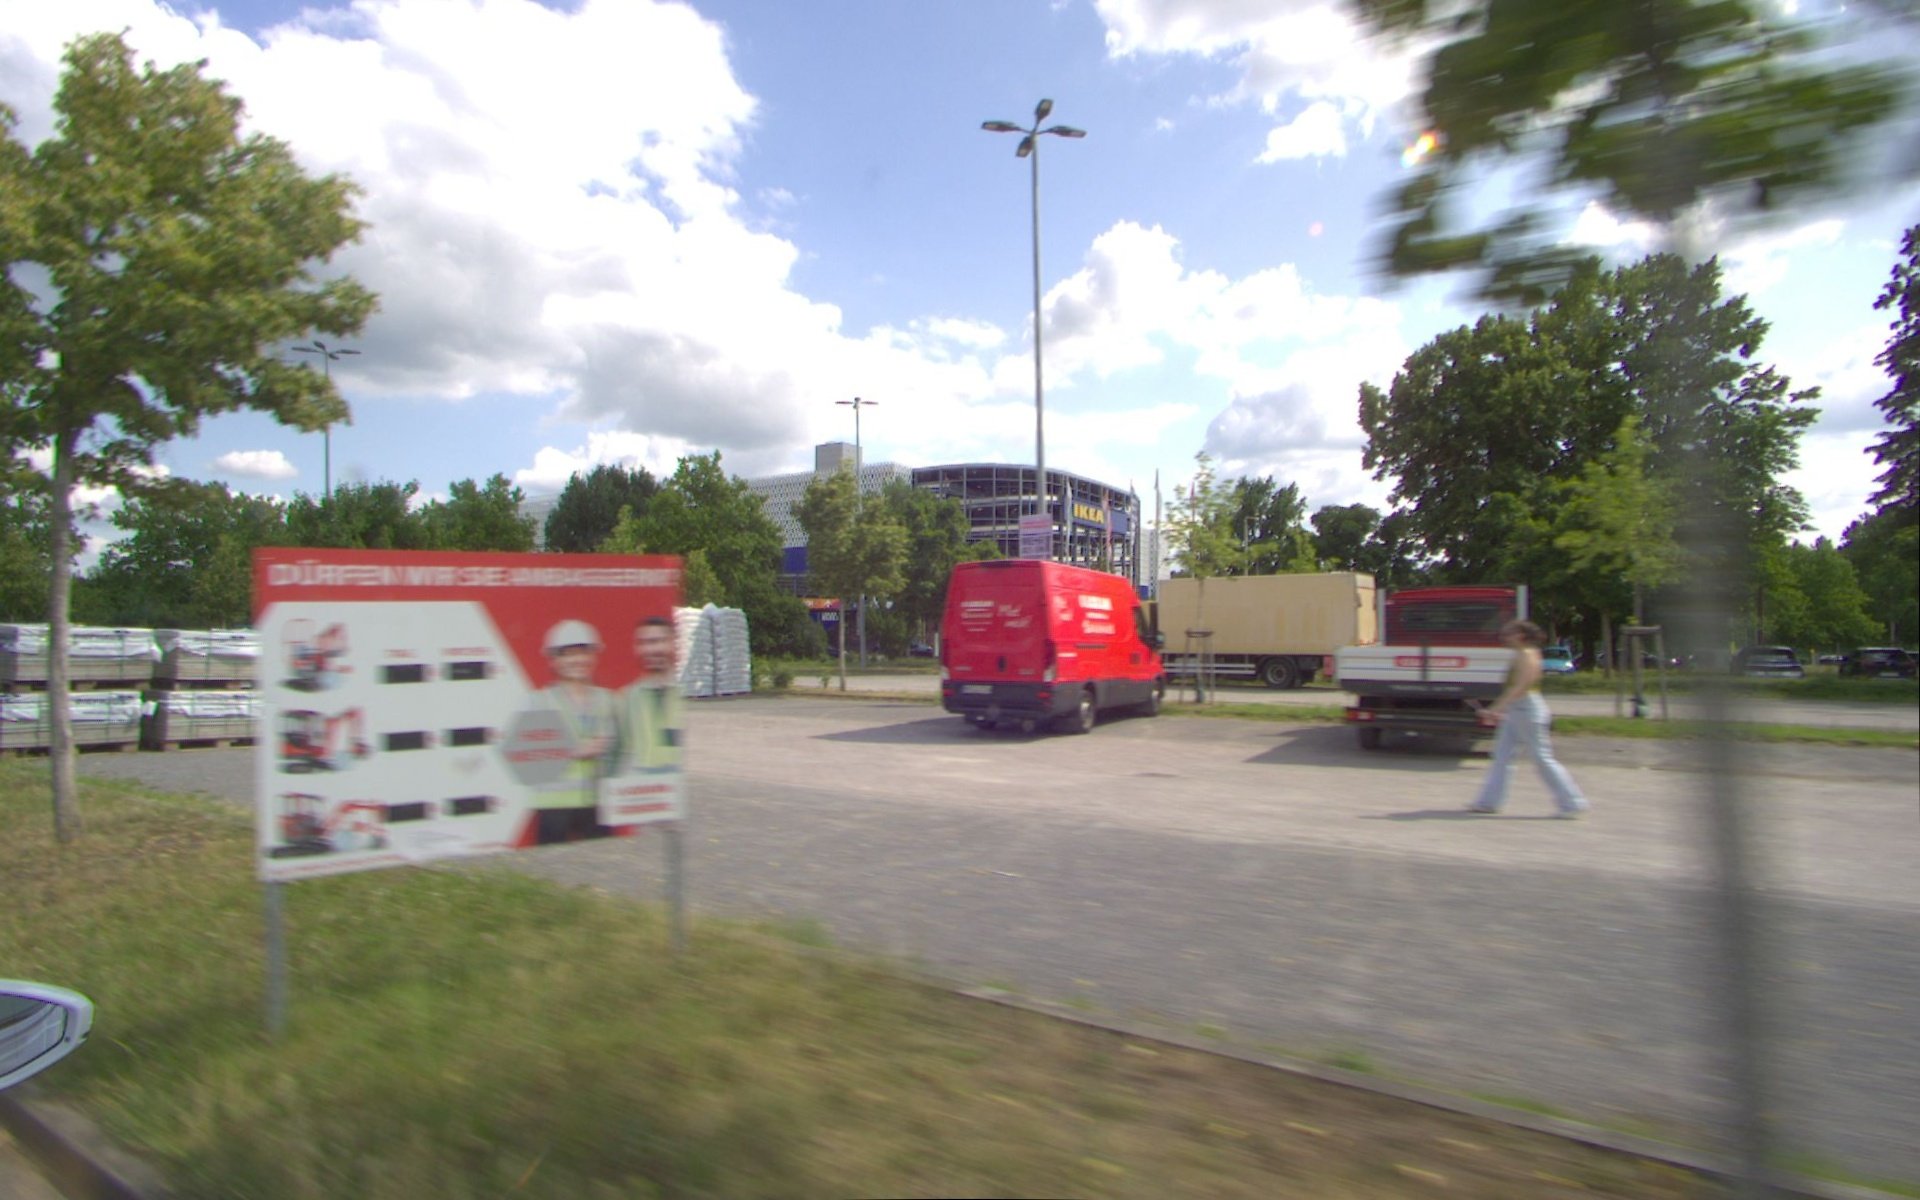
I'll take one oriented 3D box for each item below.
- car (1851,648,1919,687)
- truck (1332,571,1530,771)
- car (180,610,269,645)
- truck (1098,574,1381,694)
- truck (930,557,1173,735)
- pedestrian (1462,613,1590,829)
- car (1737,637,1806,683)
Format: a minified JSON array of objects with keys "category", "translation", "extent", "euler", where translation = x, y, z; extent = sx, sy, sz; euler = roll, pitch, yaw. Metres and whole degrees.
[{"category":"car","translation":[34.620,2.407,36.234],"extent":[3.319,1.297,1.685],"euler":[-5,-4,37]},{"category":"truck","translation":[7.034,0.909,14.531],"extent":[2.141,2.284,5.839],"euler":[0,-2,30]},{"category":"car","translation":[-44.955,1.707,61.296],"extent":[3.930,2.039,1.997],"euler":[1,-2,-18]},{"category":"truck","translation":[9.308,1.115,34.025],"extent":[8.914,3.645,2.714],"euler":[-1,-1,35]},{"category":"truck","translation":[1.785,0.746,17.175],"extent":[2.085,2.547,5.422],"euler":[0,-2,30]},{"category":"pedestrian","translation":[4.794,0.985,8.479],"extent":[0.867,1.713,0.597],"euler":[-2,-2,35]},{"category":"car","translation":[31.515,2.300,38.977],"extent":[1.878,1.677,3.466],"euler":[-1,-2,36]}]
